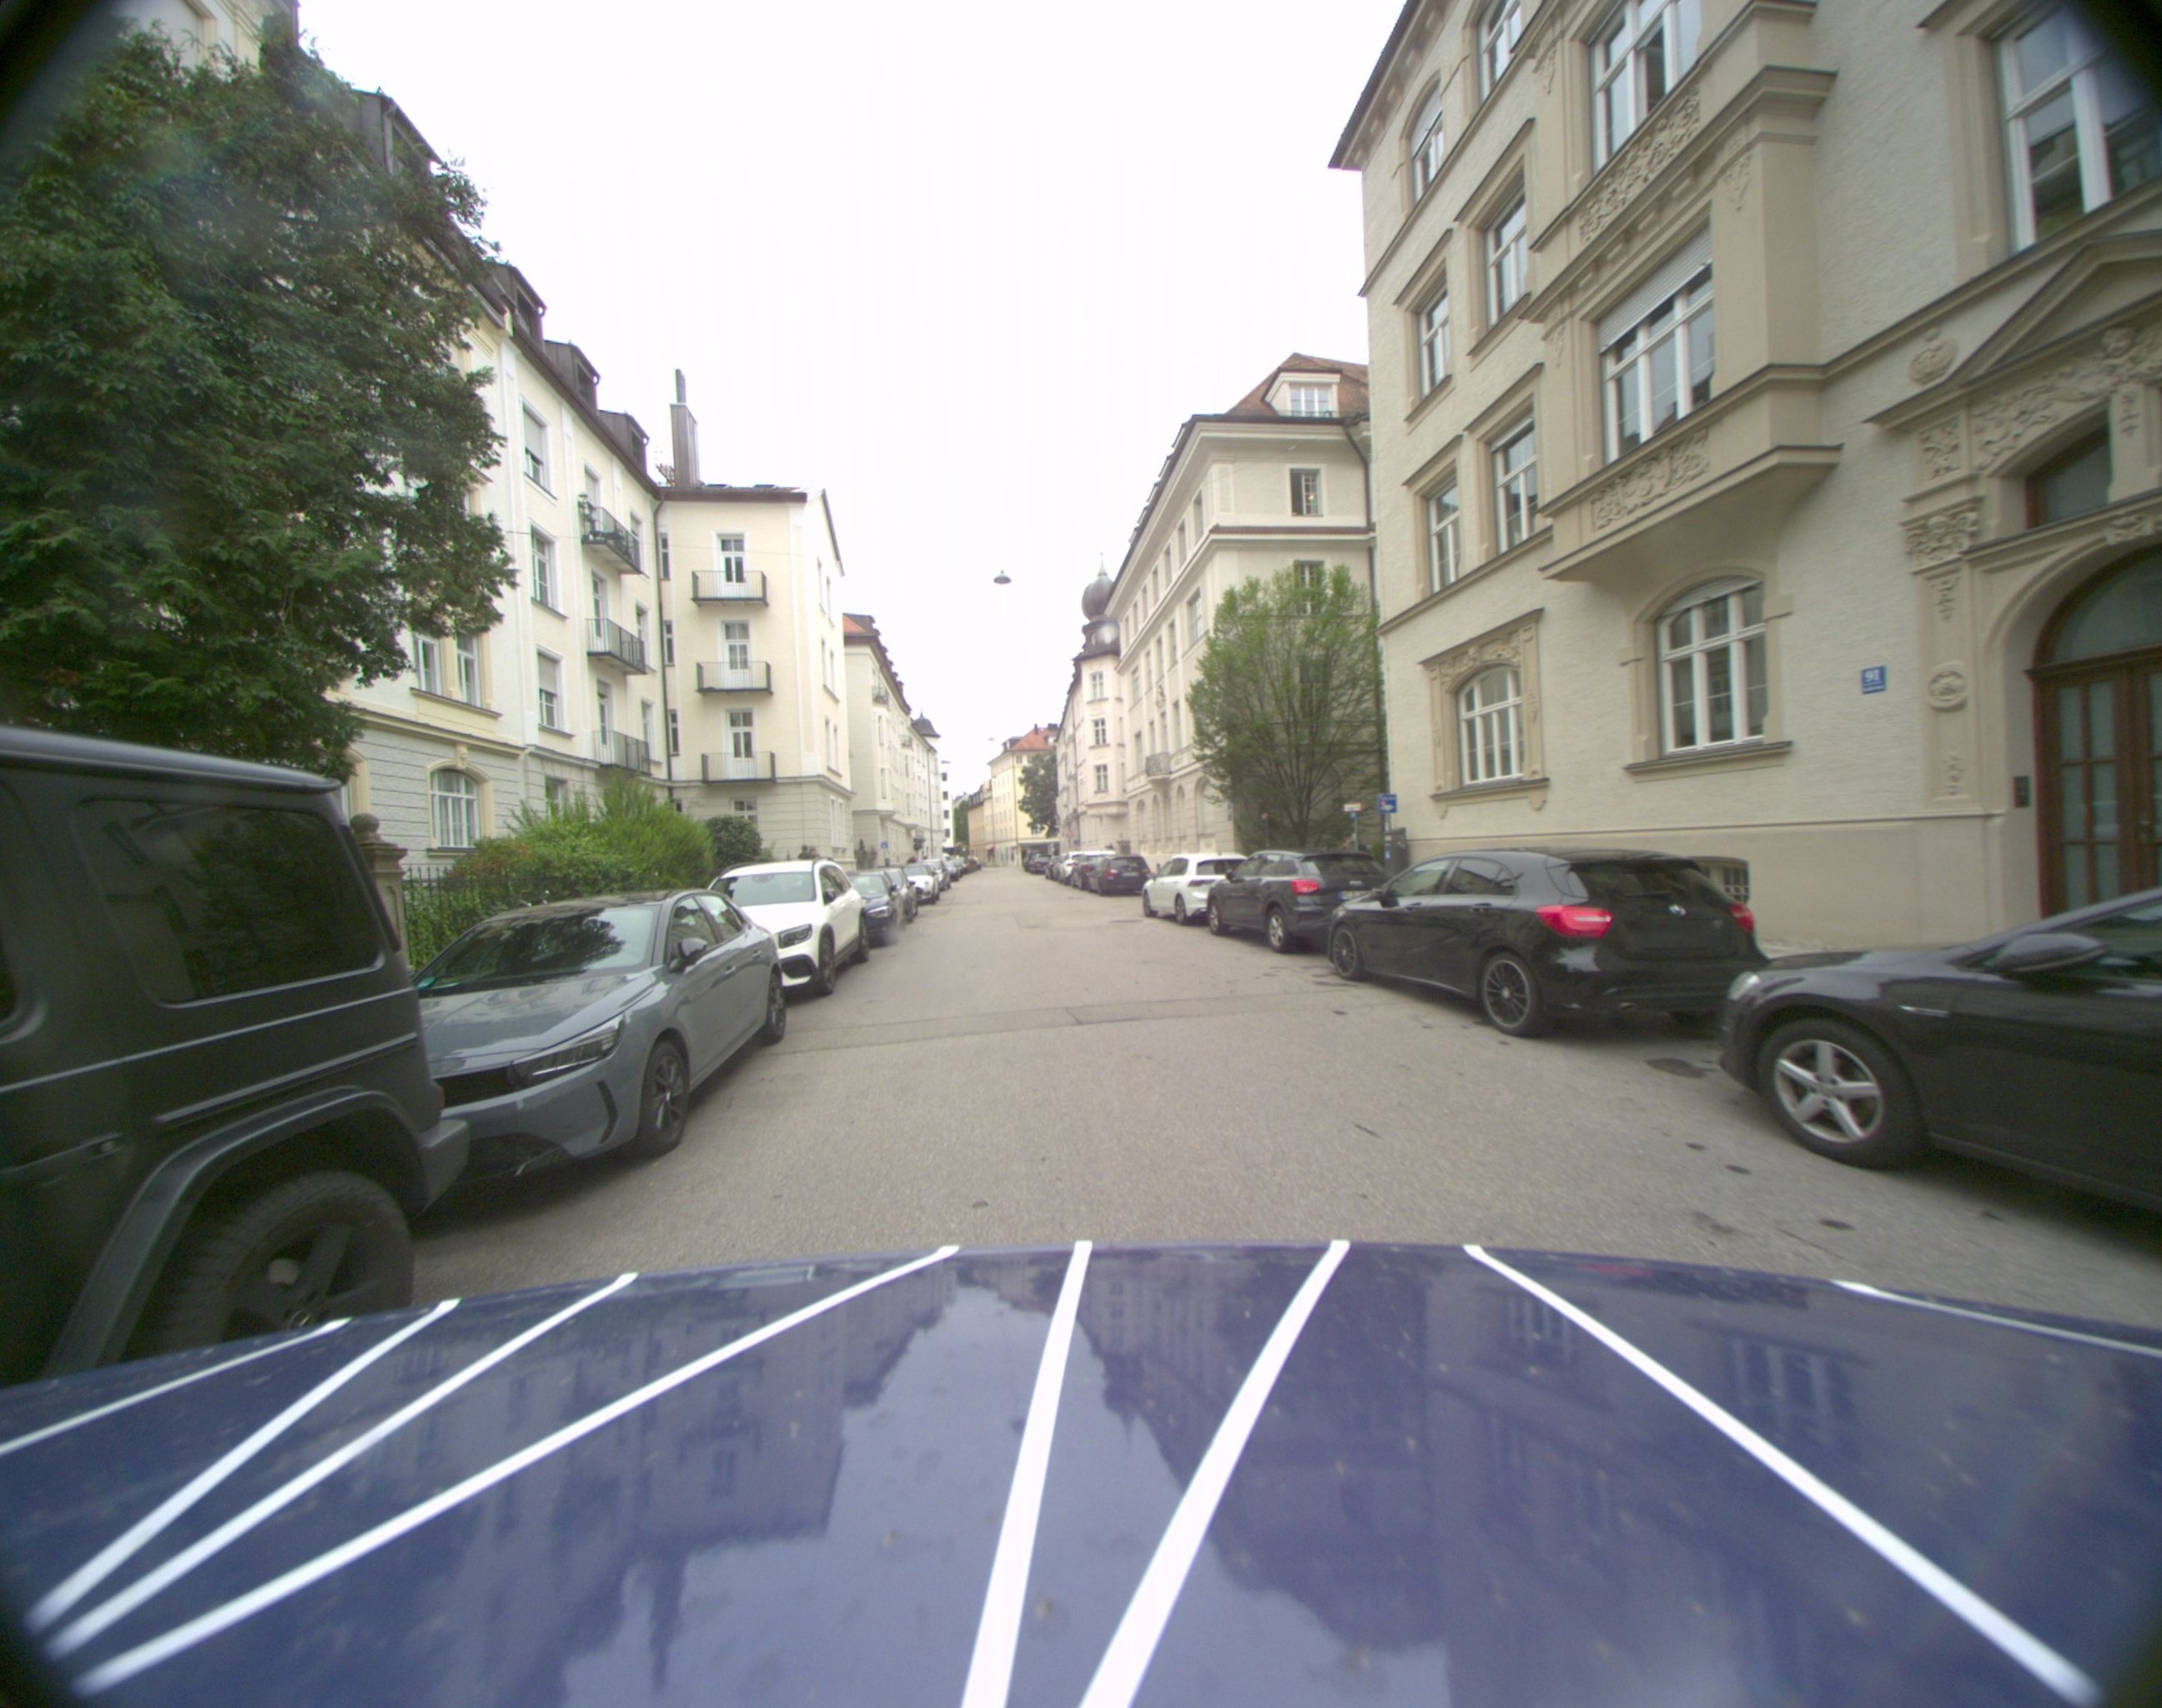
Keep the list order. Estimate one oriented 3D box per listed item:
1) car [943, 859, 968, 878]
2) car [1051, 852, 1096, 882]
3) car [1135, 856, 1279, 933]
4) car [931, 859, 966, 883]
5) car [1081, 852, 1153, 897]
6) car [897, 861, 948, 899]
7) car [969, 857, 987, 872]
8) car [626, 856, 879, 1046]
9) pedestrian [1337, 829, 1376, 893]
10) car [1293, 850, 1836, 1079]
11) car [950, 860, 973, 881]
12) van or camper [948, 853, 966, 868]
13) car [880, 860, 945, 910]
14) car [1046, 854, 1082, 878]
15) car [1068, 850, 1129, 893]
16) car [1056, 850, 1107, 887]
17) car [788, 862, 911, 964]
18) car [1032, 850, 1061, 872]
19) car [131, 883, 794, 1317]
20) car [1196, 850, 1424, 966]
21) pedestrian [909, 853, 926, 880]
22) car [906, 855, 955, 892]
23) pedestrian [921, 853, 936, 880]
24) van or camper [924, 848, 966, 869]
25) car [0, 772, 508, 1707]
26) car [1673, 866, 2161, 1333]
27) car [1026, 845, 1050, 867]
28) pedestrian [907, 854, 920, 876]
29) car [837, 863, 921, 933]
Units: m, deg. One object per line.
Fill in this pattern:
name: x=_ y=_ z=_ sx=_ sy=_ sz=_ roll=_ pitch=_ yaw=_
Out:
car: x=-10.398 y=1.186 z=62.822 sx=1.842 sy=1.391 sz=4.970 roll=-5 pitch=0 yaw=-10
car: x=-0.479 y=0.703 z=42.426 sx=1.789 sy=1.532 sz=4.253 roll=-1 pitch=0 yaw=-10
car: x=2.568 y=0.788 z=16.595 sx=1.842 sy=1.425 sz=4.241 roll=-1 pitch=0 yaw=-9
car: x=-9.121 y=1.151 z=52.749 sx=1.999 sy=1.449 sz=4.710 roll=-4 pitch=0 yaw=-6
car: x=1.202 y=0.690 z=27.429 sx=1.792 sy=1.404 sz=4.364 roll=-3 pitch=0 yaw=-8
car: x=-6.739 y=1.078 z=32.602 sx=1.759 sy=1.398 sz=3.449 roll=-4 pitch=1 yaw=-7
car: x=-13.023 y=1.321 z=96.358 sx=1.842 sy=1.609 sz=4.092 roll=-6 pitch=0 yaw=-5
car: x=-4.009 y=1.016 z=10.159 sx=1.728 sy=1.759 sz=4.410 roll=-6 pitch=1 yaw=-6
pedestrian: x=7.265 y=0.182 z=20.049 sx=0.675 sy=1.617 sz=0.630 roll=-3 pitch=1 yaw=-10
car: x=3.863 y=0.732 z=7.257 sx=1.839 sy=1.425 sz=4.550 roll=-1 pitch=0 yaw=-8
car: x=-11.249 y=1.536 z=71.640 sx=1.805 sy=1.665 sz=4.186 roll=-6 pitch=0 yaw=-8
van or camper: x=-22.689 y=1.195 z=139.087 sx=1.969 sy=2.494 sz=5.714 roll=-3 pitch=0 yaw=-21
car: x=-5.962 y=1.032 z=27.234 sx=1.790 sy=1.496 sz=4.062 roll=-4 pitch=0 yaw=-7
car: x=-1.127 y=0.717 z=47.074 sx=1.798 sy=1.407 sz=4.275 roll=-1 pitch=0 yaw=-7
car: x=0.667 y=0.695 z=31.867 sx=1.842 sy=1.609 sz=4.242 roll=-3 pitch=0 yaw=-8
car: x=-0.038 y=0.667 z=37.336 sx=1.921 sy=1.609 sz=4.569 roll=-3 pitch=0 yaw=-6
car: x=-4.476 y=1.039 z=15.327 sx=1.756 sy=1.601 sz=4.420 roll=-5 pitch=0 yaw=-10
car: x=-2.684 y=0.545 z=58.195 sx=1.732 sy=1.609 sz=4.118 roll=-1 pitch=0 yaw=-9
car: x=-3.308 y=1.110 z=5.108 sx=1.728 sy=1.510 sz=3.627 roll=-6 pitch=1 yaw=-9
car: x=3.369 y=0.726 z=12.190 sx=1.776 sy=1.509 sz=4.382 roll=0 pitch=0 yaw=-9
pedestrian: x=-11.259 y=0.862 z=52.307 sx=0.885 sy=1.801 sz=1.111 roll=-3 pitch=1 yaw=-2
car: x=-7.475 y=0.943 z=38.155 sx=1.827 sy=1.560 sz=4.398 roll=-6 pitch=0 yaw=-5
pedestrian: x=-10.433 y=0.826 z=51.871 sx=0.886 sy=1.776 sz=1.110 roll=-3 pitch=1 yaw=-14
van or camper: x=-19.978 y=0.617 z=111.576 sx=5.872 sy=2.697 sz=2.303 roll=-3 pitch=-2 yaw=-14
car: x=-2.884 y=0.864 z=0.394 sx=1.957 sy=1.943 sz=4.663 roll=-5 pitch=0 yaw=-8
car: x=4.317 y=0.768 z=2.060 sx=1.842 sy=1.427 sz=4.242 roll=0 pitch=0 yaw=-7
car: x=-3.963 y=0.180 z=69.718 sx=1.842 sy=1.883 sz=4.760 roll=-1 pitch=0 yaw=-7
pedestrian: x=-14.424 y=0.944 z=65.563 sx=0.886 sy=1.803 sz=1.110 roll=-3 pitch=0 yaw=-6
car: x=-5.241 y=1.071 z=20.157 sx=1.689 sy=1.496 sz=4.014 roll=-4 pitch=0 yaw=-9
